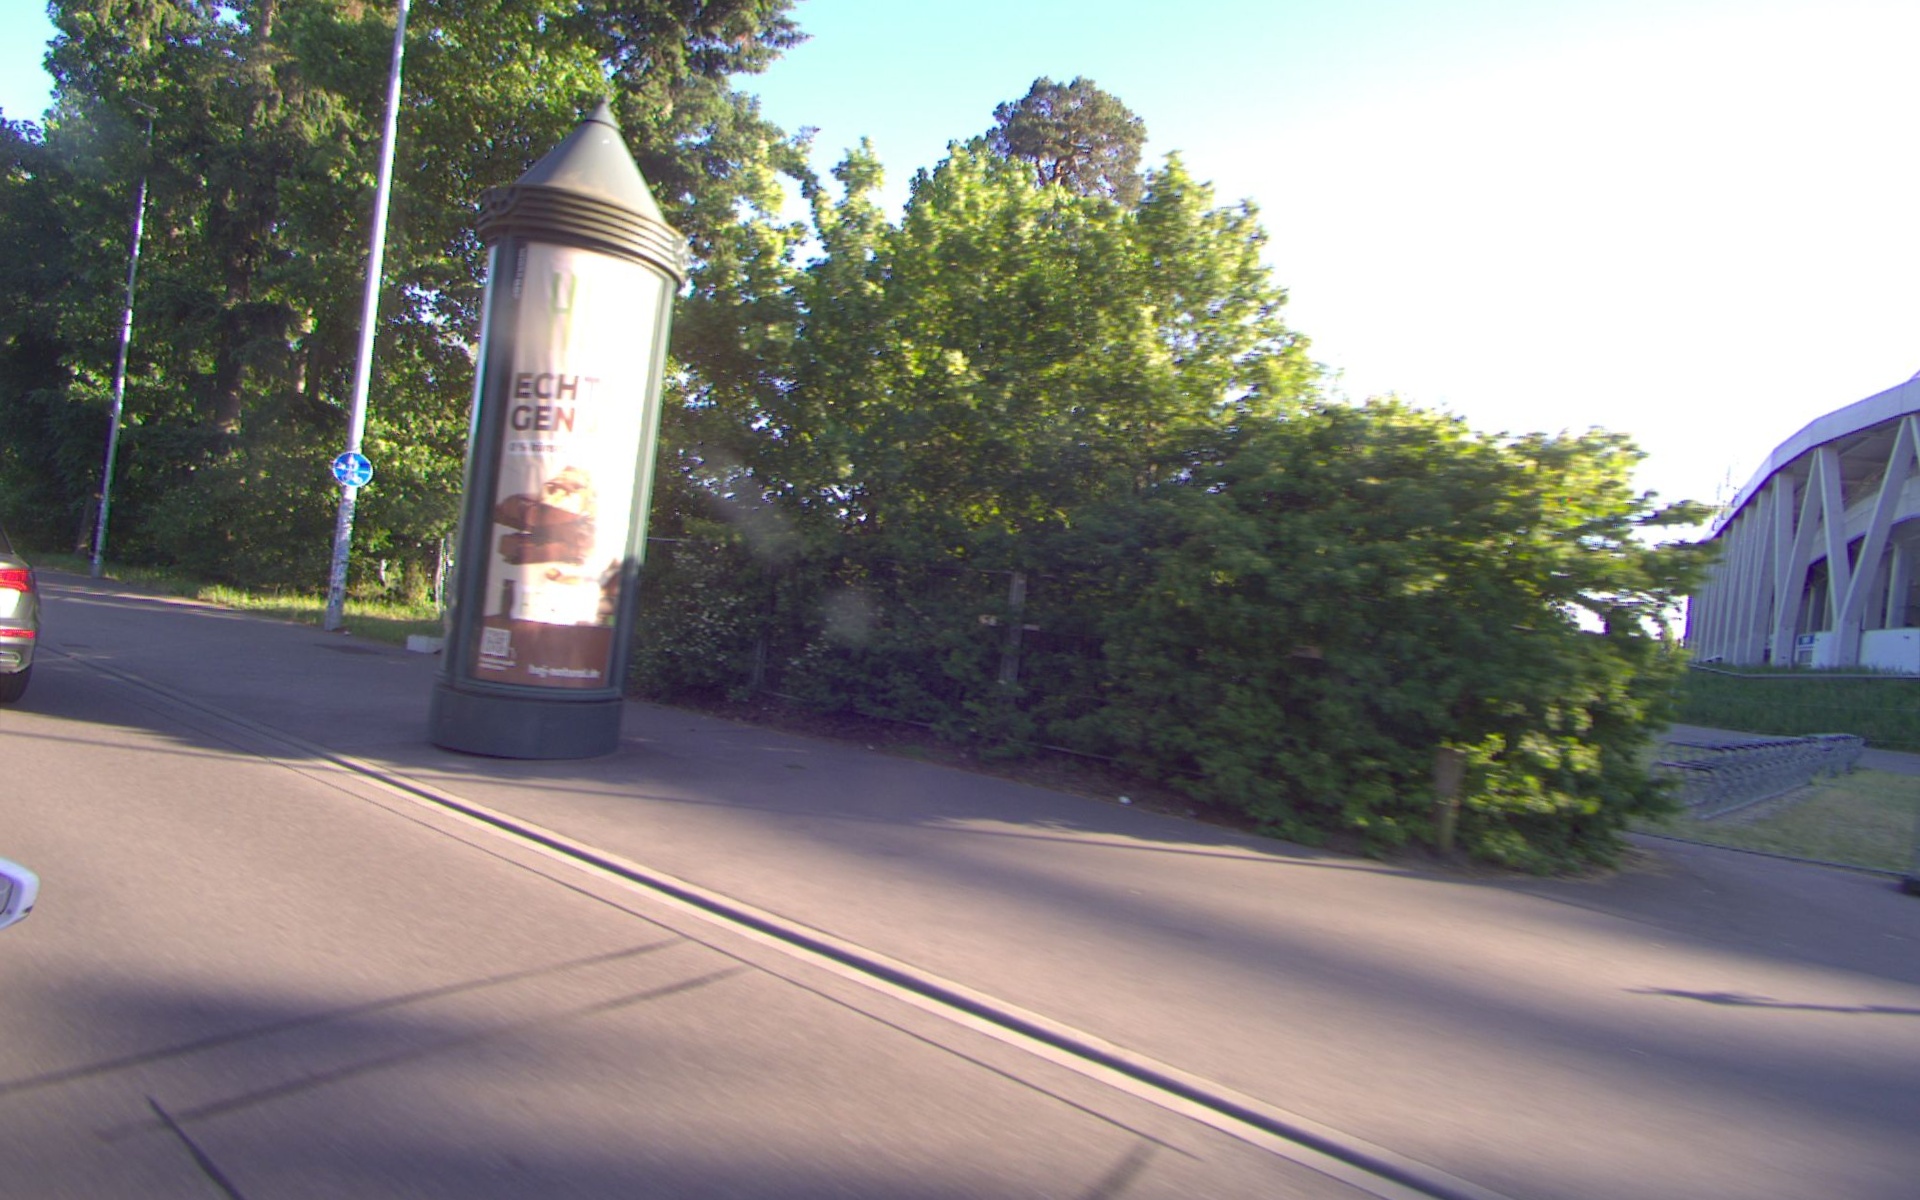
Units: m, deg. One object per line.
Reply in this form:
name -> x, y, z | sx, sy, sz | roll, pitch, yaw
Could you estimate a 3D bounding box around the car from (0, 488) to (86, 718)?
car -> -8.966, -0.238, 7.967 | 4.472, 1.623, 1.896 | 6, -3, 35
